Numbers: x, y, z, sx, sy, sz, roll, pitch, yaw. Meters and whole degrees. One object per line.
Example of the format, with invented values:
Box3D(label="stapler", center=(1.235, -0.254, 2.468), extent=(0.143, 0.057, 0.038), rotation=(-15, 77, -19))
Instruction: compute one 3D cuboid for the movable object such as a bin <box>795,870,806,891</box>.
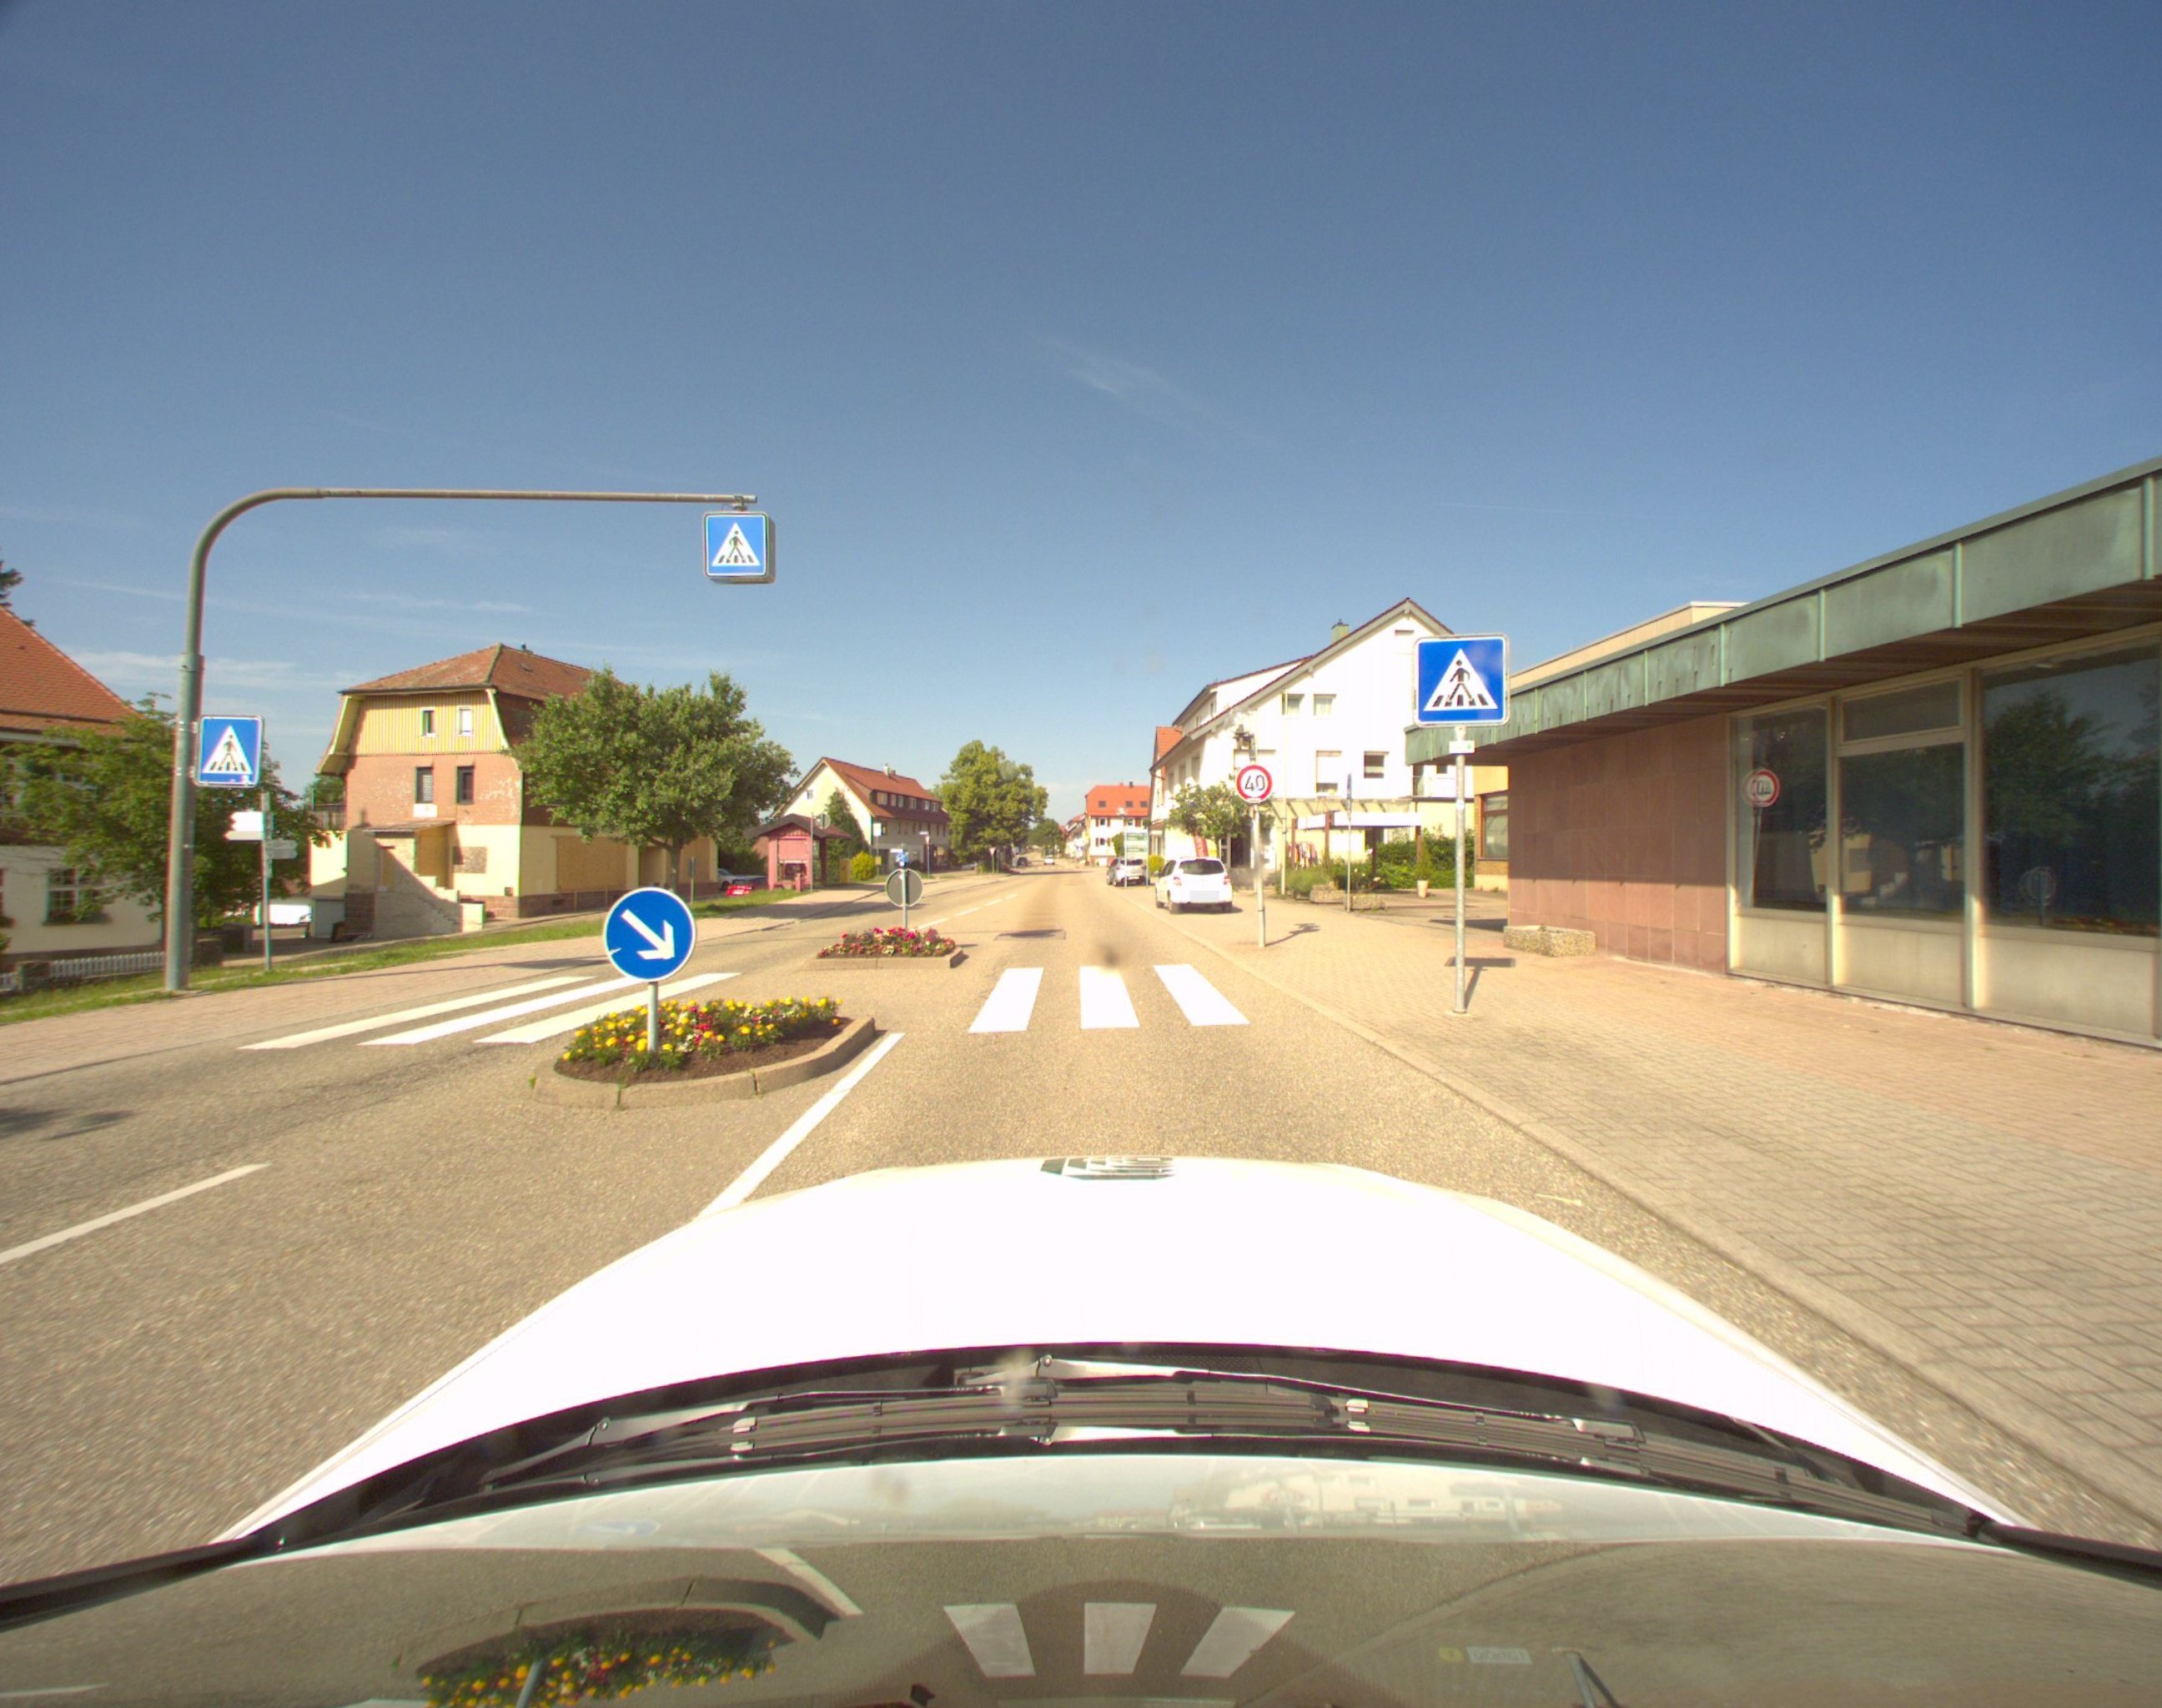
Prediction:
Box3D(label="movable object such as a bin", center=(-11.343, 1.067, 32.916), extent=(0.304, 0.837, 0.484), rotation=(-2, -1, -4))

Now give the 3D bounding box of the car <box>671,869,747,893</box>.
Box3D(label="car", center=(-24.748, 1.806, 54.253), extent=(4.277, 1.512, 1.804), rotation=(0, -2, 8))

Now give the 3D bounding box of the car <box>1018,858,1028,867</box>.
Box3D(label="car", center=(-10.405, 1.488, 146.208), extent=(1.668, 1.533, 3.532), rotation=(3, 0, -2))

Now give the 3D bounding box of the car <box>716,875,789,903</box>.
Box3D(label="car", center=(-18.120, 1.897, 45.064), extent=(1.709, 1.297, 4.014), rotation=(-3, 0, 13))

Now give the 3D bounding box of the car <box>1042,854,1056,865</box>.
Box3D(label="car", center=(-6.280, 1.091, 159.747), extent=(2.492, 2.013, 4.295), rotation=(-3, 0, -6))

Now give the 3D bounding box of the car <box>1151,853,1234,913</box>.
Box3D(label="car", center=(2.959, 0.719, 22.218), extent=(1.754, 1.423, 3.634), rotation=(-3, 0, 1))

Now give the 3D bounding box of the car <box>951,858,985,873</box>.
Box3D(label="car", center=(-13.948, 1.418, 100.299), extent=(3.736, 1.455, 1.822), rotation=(-3, -6, 10))

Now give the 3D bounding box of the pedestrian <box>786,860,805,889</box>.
Box3D(label="pedestrian", center=(-12.570, 0.896, 35.838), extent=(0.628, 1.253, 0.423), rotation=(-3, 0, -5))

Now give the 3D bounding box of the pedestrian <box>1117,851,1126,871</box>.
Box3D(label="pedestrian", center=(3.825, 0.663, 77.801), extent=(0.796, 1.784, 0.980), rotation=(-2, 0, 3))

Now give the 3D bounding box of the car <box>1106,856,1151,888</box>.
Box3D(label="car", center=(2.292, 0.854, 40.528), extent=(1.633, 1.420, 3.928), rotation=(-3, 0, -5))

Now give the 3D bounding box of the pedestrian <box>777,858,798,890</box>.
Box3D(label="pedestrian", center=(-12.703, 0.858, 35.245), extent=(0.616, 1.364, 0.673), rotation=(-3, 1, -3))
